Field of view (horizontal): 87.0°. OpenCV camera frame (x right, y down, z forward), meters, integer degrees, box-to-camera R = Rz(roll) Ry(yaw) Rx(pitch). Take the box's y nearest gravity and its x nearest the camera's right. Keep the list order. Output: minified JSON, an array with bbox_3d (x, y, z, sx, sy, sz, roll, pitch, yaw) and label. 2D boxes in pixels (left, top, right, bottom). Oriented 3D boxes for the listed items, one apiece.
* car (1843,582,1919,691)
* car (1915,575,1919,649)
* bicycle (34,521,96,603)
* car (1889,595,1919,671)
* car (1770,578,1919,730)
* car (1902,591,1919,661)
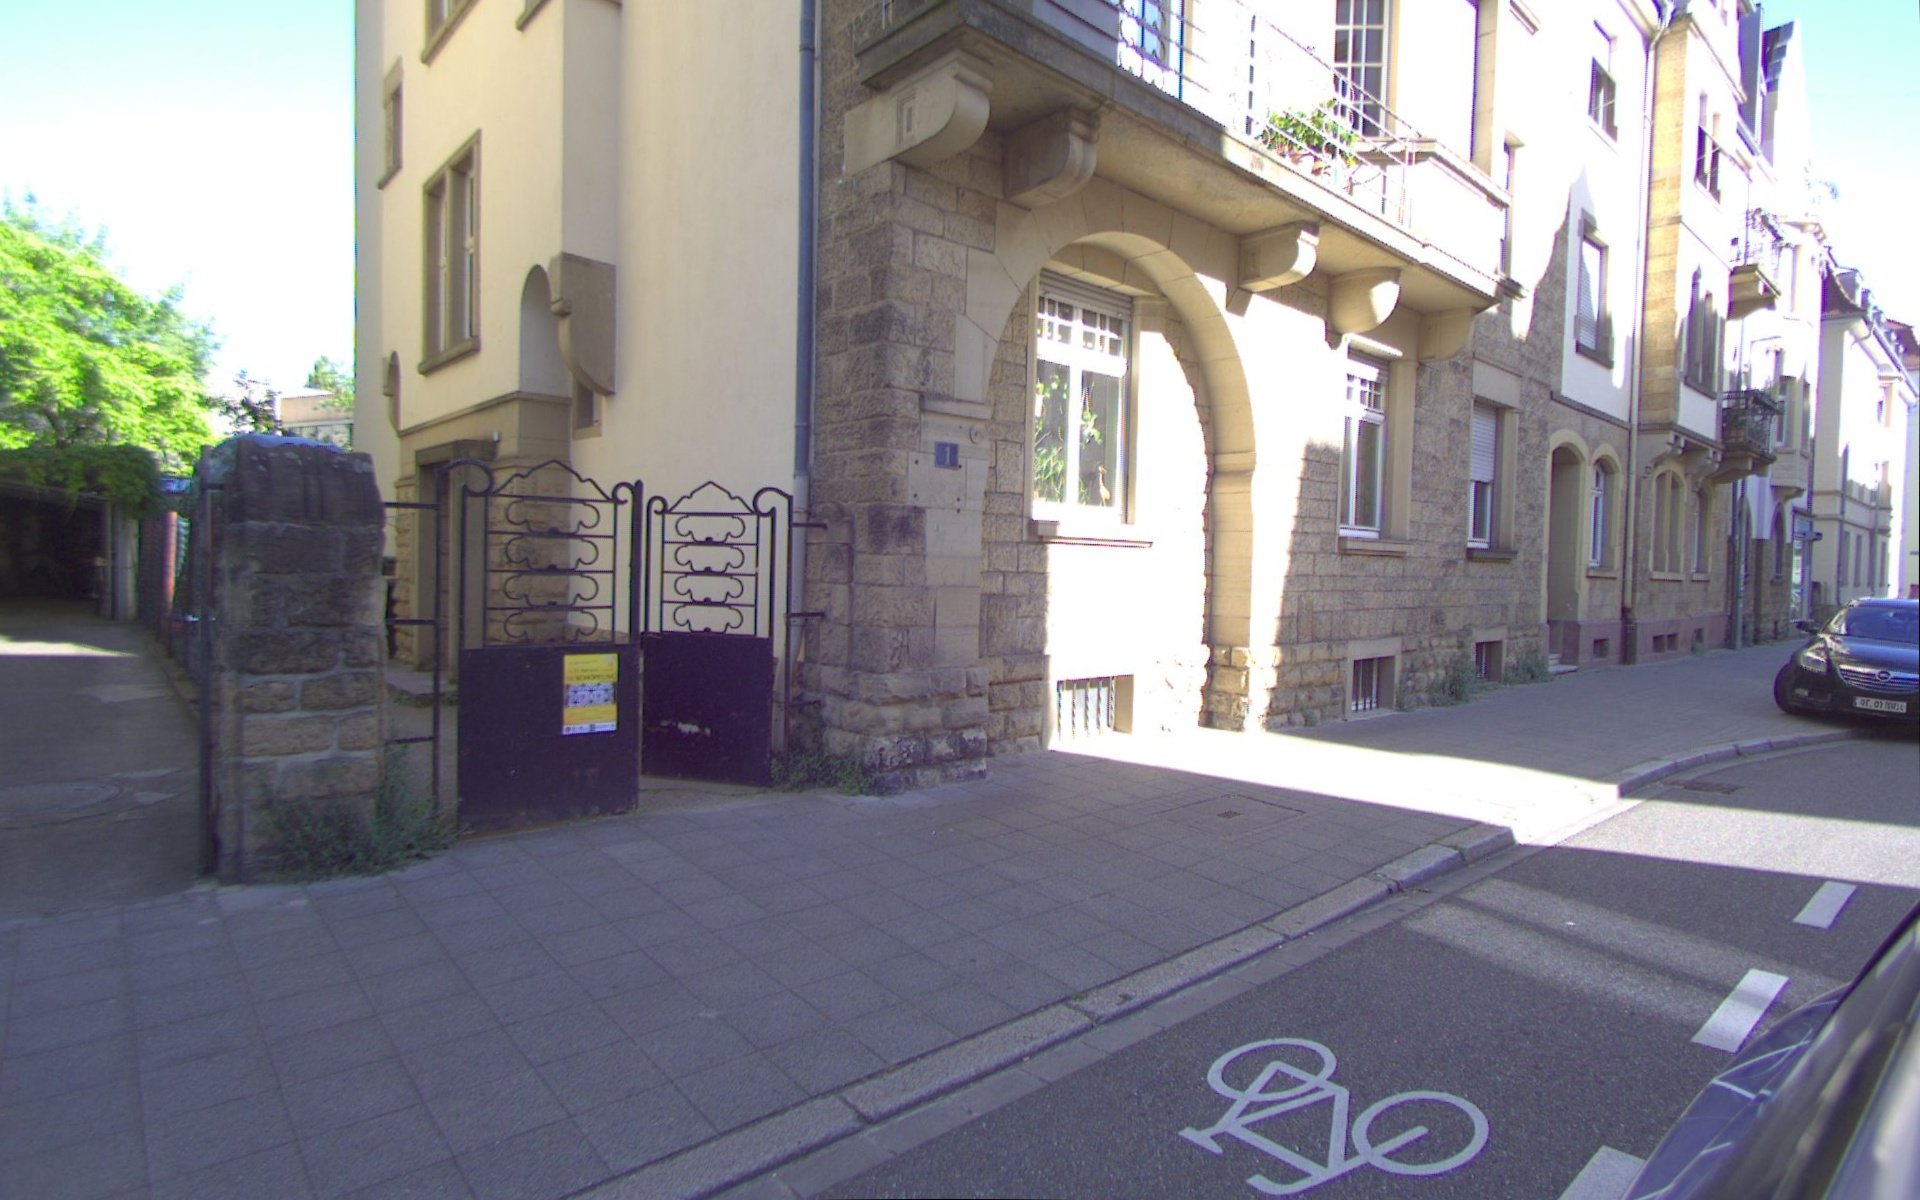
[{"bbox_3d":[15.529,0.563,15.875,4.247,1.527,2.004,0,3,-42],"label":"car"},{"bbox_3d":[26.231,0.333,26.058,4.247,1.860,2.004,-1,4,-42],"label":"car"},{"bbox_3d":[-18.304,-0.811,20.730,0.903,1.530,2.672,0,4,-41],"label":"bicycle"},{"bbox_3d":[18.792,0.616,18.979,3.667,1.295,1.659,-1,4,-42],"label":"car"},{"bbox_3d":[11.495,0.567,12.185,4.043,1.526,2.023,-1,5,-42],"label":"car"},{"bbox_3d":[22.169,0.579,22.201,4.247,1.440,1.823,-1,4,-42],"label":"car"}]
